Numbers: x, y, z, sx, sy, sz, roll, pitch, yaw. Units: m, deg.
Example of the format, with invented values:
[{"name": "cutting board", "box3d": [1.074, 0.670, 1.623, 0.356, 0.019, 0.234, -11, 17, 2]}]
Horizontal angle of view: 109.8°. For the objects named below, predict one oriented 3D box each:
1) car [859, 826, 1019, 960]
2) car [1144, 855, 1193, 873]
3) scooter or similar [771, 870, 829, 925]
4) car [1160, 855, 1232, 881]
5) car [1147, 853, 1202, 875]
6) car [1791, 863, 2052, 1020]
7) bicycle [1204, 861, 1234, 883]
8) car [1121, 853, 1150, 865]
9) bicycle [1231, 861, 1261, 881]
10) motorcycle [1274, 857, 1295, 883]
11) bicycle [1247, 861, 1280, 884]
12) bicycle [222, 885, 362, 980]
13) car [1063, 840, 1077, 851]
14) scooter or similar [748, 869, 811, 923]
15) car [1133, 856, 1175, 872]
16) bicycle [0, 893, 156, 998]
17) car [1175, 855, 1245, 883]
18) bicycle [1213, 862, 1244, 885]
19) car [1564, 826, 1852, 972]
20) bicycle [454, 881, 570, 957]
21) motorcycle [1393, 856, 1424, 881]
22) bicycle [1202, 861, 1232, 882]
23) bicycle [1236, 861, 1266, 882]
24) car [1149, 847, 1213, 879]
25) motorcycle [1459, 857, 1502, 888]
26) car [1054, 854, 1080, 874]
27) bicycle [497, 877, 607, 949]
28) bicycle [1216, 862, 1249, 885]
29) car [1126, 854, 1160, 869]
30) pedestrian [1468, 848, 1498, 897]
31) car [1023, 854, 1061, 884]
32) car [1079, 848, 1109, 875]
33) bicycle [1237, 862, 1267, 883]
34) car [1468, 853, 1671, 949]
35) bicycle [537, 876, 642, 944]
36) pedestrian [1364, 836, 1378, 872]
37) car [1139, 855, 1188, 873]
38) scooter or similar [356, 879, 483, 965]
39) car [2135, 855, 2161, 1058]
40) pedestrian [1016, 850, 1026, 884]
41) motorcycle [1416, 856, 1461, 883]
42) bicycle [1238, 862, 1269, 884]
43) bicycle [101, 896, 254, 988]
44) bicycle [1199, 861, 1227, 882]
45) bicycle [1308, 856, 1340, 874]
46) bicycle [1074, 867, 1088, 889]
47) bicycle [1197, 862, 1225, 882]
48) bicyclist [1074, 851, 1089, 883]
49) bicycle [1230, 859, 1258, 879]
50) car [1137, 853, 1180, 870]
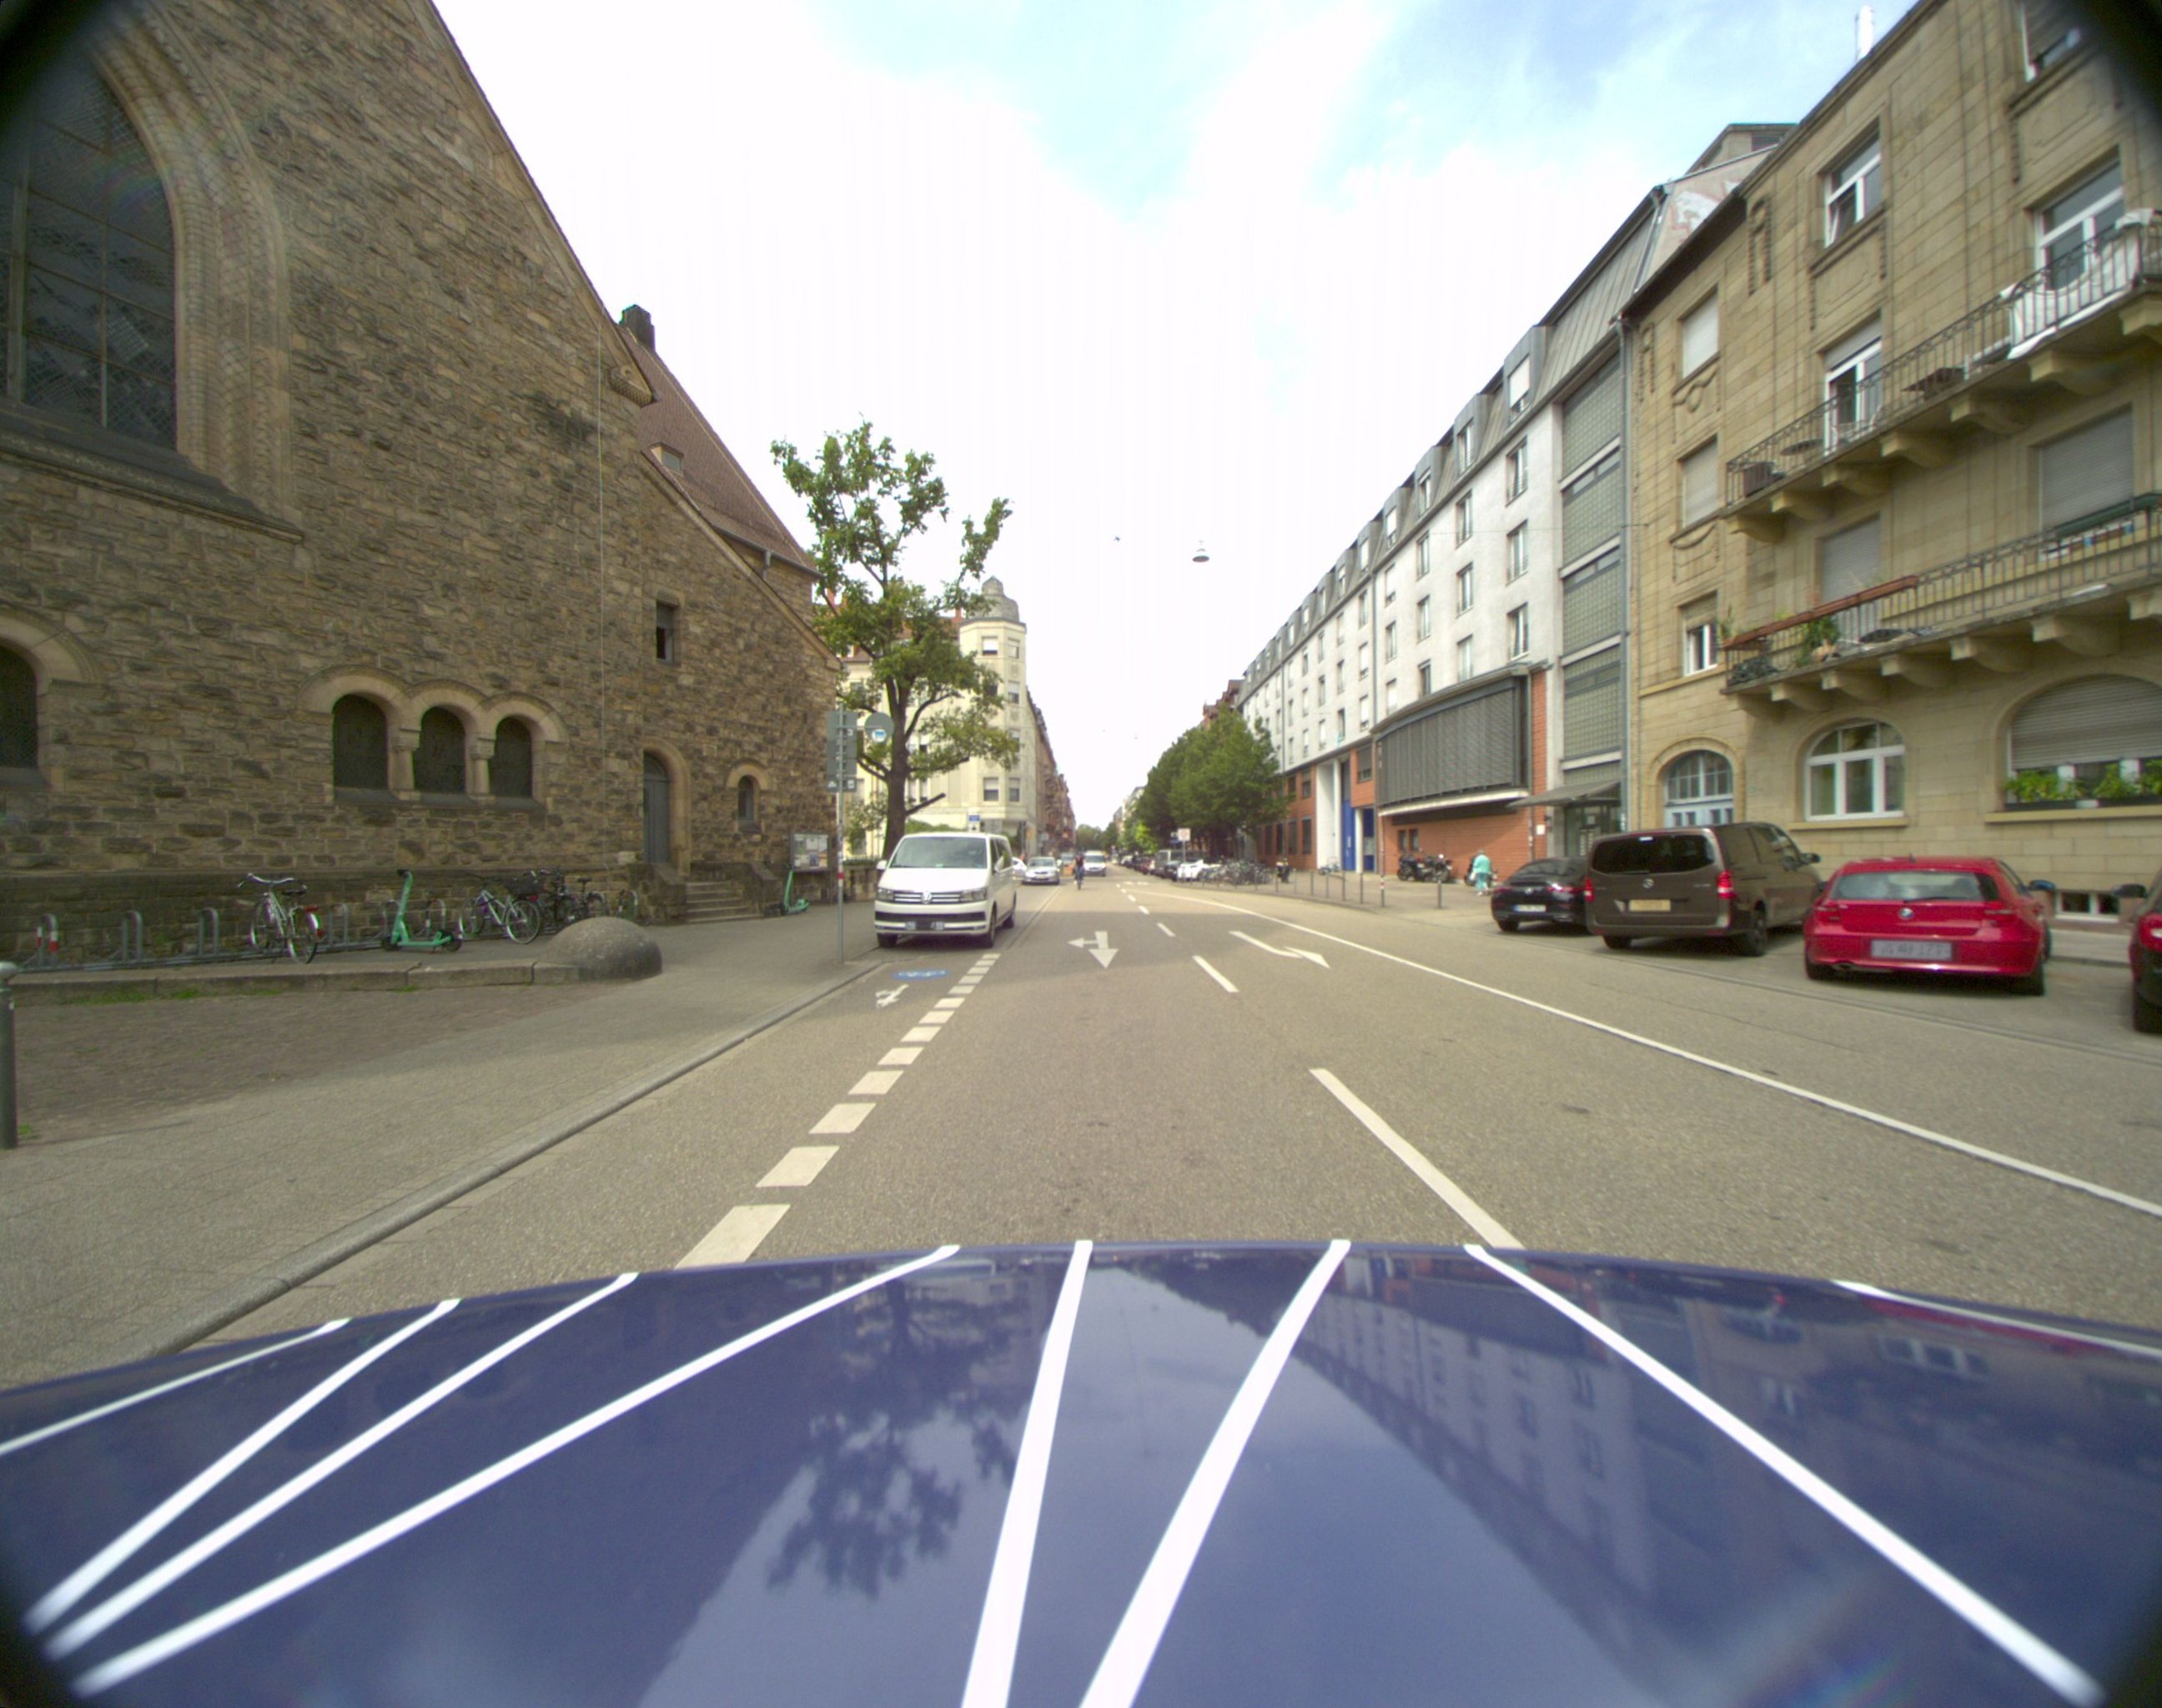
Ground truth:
[{"name": "car", "box3d": [-2.361, 0.597, 14.060, 2.019, 2.017, 5.123, 1, 0, 0]}, {"name": "car", "box3d": [7.362, 0.829, 63.884, 4.012, 1.381, 1.592, -1, -1, -32]}, {"name": "scooter or similar", "box3d": [-6.546, 0.992, 17.787, 0.545, 1.200, 1.444, 0, 0, 14]}, {"name": "car", "box3d": [7.137, 0.846, 46.966, 4.324, 1.460, 1.713, -1, 0, -33]}, {"name": "car", "box3d": [7.162, 0.735, 58.229, 4.012, 1.605, 1.708, -1, -1, -32]}, {"name": "car", "box3d": [10.085, 0.842, 9.037, 4.020, 1.401, 1.792, -1, 0, -38]}, {"name": "bicycle", "box3d": [7.040, 0.922, 38.762, 1.409, 1.032, 0.402, -3, 0, 3]}, {"name": "car", "box3d": [8.228, 0.722, 114.446, 4.012, 1.746, 1.687, -1, -1, -32]}, {"name": "bicycle", "box3d": [8.506, 0.885, 39.204, 1.409, 1.020, 0.402, -1, 0, 3]}, {"name": "motorcycle", "box3d": [9.816, 0.757, 36.664, 0.585, 1.166, 1.780, -2, 0, 3]}, {"name": "bicycle", "box3d": [8.670, 0.880, 36.119, 1.409, 1.020, 0.402, -1, 0, 3]}, {"name": "bicycle", "box3d": [-10.048, 0.961, 9.669, 1.778, 1.105, 0.547, 0, 0, 20]}, {"name": "car", "box3d": [-1.604, -1.204, 112.529, 1.854, 1.505, 4.006, -1, -1, 0]}, {"name": "scooter or similar", "box3d": [-7.156, 0.977, 18.092, 0.545, 1.200, 1.483, 0, 0, 21]}, {"name": "car", "box3d": [7.447, 1.024, 76.889, 4.012, 1.558, 1.687, -1, -1, -32]}, {"name": "bicycle", "box3d": [-10.802, 0.940, 8.145, 1.778, 0.952, 0.547, 2, 1, 20]}, {"name": "car", "box3d": [7.587, 0.831, 44.506, 4.013, 1.536, 1.598, -1, 0, -33]}, {"name": "bicycle", "box3d": [7.132, 0.932, 36.758, 1.409, 1.032, 0.402, -3, 0, 3]}, {"name": "car", "box3d": [10.235, 0.571, 12.267, 5.280, 1.899, 2.116, -1, 0, -33]}, {"name": "bicycle", "box3d": [-8.906, 0.994, 11.890, 1.778, 1.105, 0.547, 0, 0, 20]}, {"name": "motorcycle", "box3d": [14.306, 0.624, 33.204, 0.585, 1.042, 1.657, -2, 0, 0]}, {"name": "bicycle", "box3d": [7.044, 0.914, 39.404, 1.409, 1.020, 0.402, -3, 0, 3]}, {"name": "bicycle", "box3d": [8.582, 0.882, 38.385, 1.409, 1.020, 0.402, -1, 0, 3]}, {"name": "car", "box3d": [6.920, 0.590, 52.594, 4.011, 1.986, 1.857, -3, 1, -30]}, {"name": "motorcycle", "box3d": [14.219, 0.651, 27.084, 0.585, 1.042, 1.794, -2, 0, 2]}, {"name": "car", "box3d": [-1.191, 0.901, 67.851, 1.853, 1.661, 4.008, -1, -1, 5]}, {"name": "bicycle", "box3d": [-8.674, 0.938, 12.463, 1.771, 1.105, 0.547, 0, 0, 20]}, {"name": "bicycle", "box3d": [7.156, 0.913, 35.866, 1.409, 1.032, 0.402, -3, 0, 3]}, {"name": "car", "box3d": [7.879, 0.926, 96.266, 4.012, 1.846, 1.687, -1, -1, -32]}, {"name": "pedestrian", "box3d": [12.296, 0.569, 23.258, 0.661, 1.477, 0.509, -1, 0, 5]}, {"name": "car", "box3d": [-1.961, 0.766, 39.612, 1.759, 1.460, 4.418, 0, 0, 0]}, {"name": "car", "box3d": [1.036, 0.550, 56.994, 1.942, 1.913, 4.008, -1, -1, 5]}, {"name": "bicycle", "box3d": [8.511, 0.915, 37.901, 1.409, 1.020, 0.402, -1, 0, 3]}, {"name": "car", "box3d": [9.816, 0.832, 15.120, 4.679, 1.401, 1.895, -4, 0, -38]}, {"name": "bicycle", "box3d": [-8.465, 0.937, 13.080, 1.778, 1.105, 0.547, 0, 0, 20]}, {"name": "pedestrian", "box3d": [16.282, -0.023, 42.726, 0.729, 2.002, 0.783, 0, 0, 20]}, {"name": "car", "box3d": [7.209, 0.894, 66.052, 4.012, 1.445, 1.687, -1, -1, -32]}, {"name": "scooter or similar", "box3d": [-9.395, 0.933, 10.791, 1.778, 1.133, 0.547, 0, 0, 20]}, {"name": "car", "box3d": [10.235, 0.776, 6.300, 4.004, 1.494, 1.627, -1, 0, -34]}, {"name": "pedestrian", "box3d": [-3.126, 0.681, 39.581, 0.468, 1.725, 0.410, 0, 0, 0]}, {"name": "motorcycle", "box3d": [14.460, 0.631, 30.784, 0.585, 1.042, 1.965, -2, 0, -10]}, {"name": "bicycle", "box3d": [8.481, 0.935, 37.365, 1.409, 1.020, 0.402, -1, 0, 3]}, {"name": "bicycle", "box3d": [-10.498, 0.989, 8.822, 1.778, 0.951, 0.547, 0, 0, 20]}, {"name": "bicycle", "box3d": [7.075, 0.951, 40.677, 1.409, 1.020, 0.402, -3, 0, 3]}, {"name": "bicycle", "box3d": [14.143, 0.639, 44.317, 1.613, 0.920, 0.932, -6, -1, 13]}, {"name": "bicycle", "box3d": [0.016, 1.080, 34.328, 0.586, 0.927, 1.783, -1, -1, 2]}, {"name": "bicycle", "box3d": [7.092, 0.969, 41.485, 1.409, 1.020, 0.402, -3, 0, 3]}, {"name": "bicyclist", "box3d": [0.020, 0.586, 34.418, 0.649, 1.408, 1.094, -1, 0, 2]}, {"name": "bicycle", "box3d": [8.509, 0.789, 39.689, 1.409, 1.020, 0.402, -1, 0, 3]}, {"name": "car", "box3d": [7.578, 0.690, 74.288, 4.012, 1.558, 1.687, -1, -1, -32]}]
